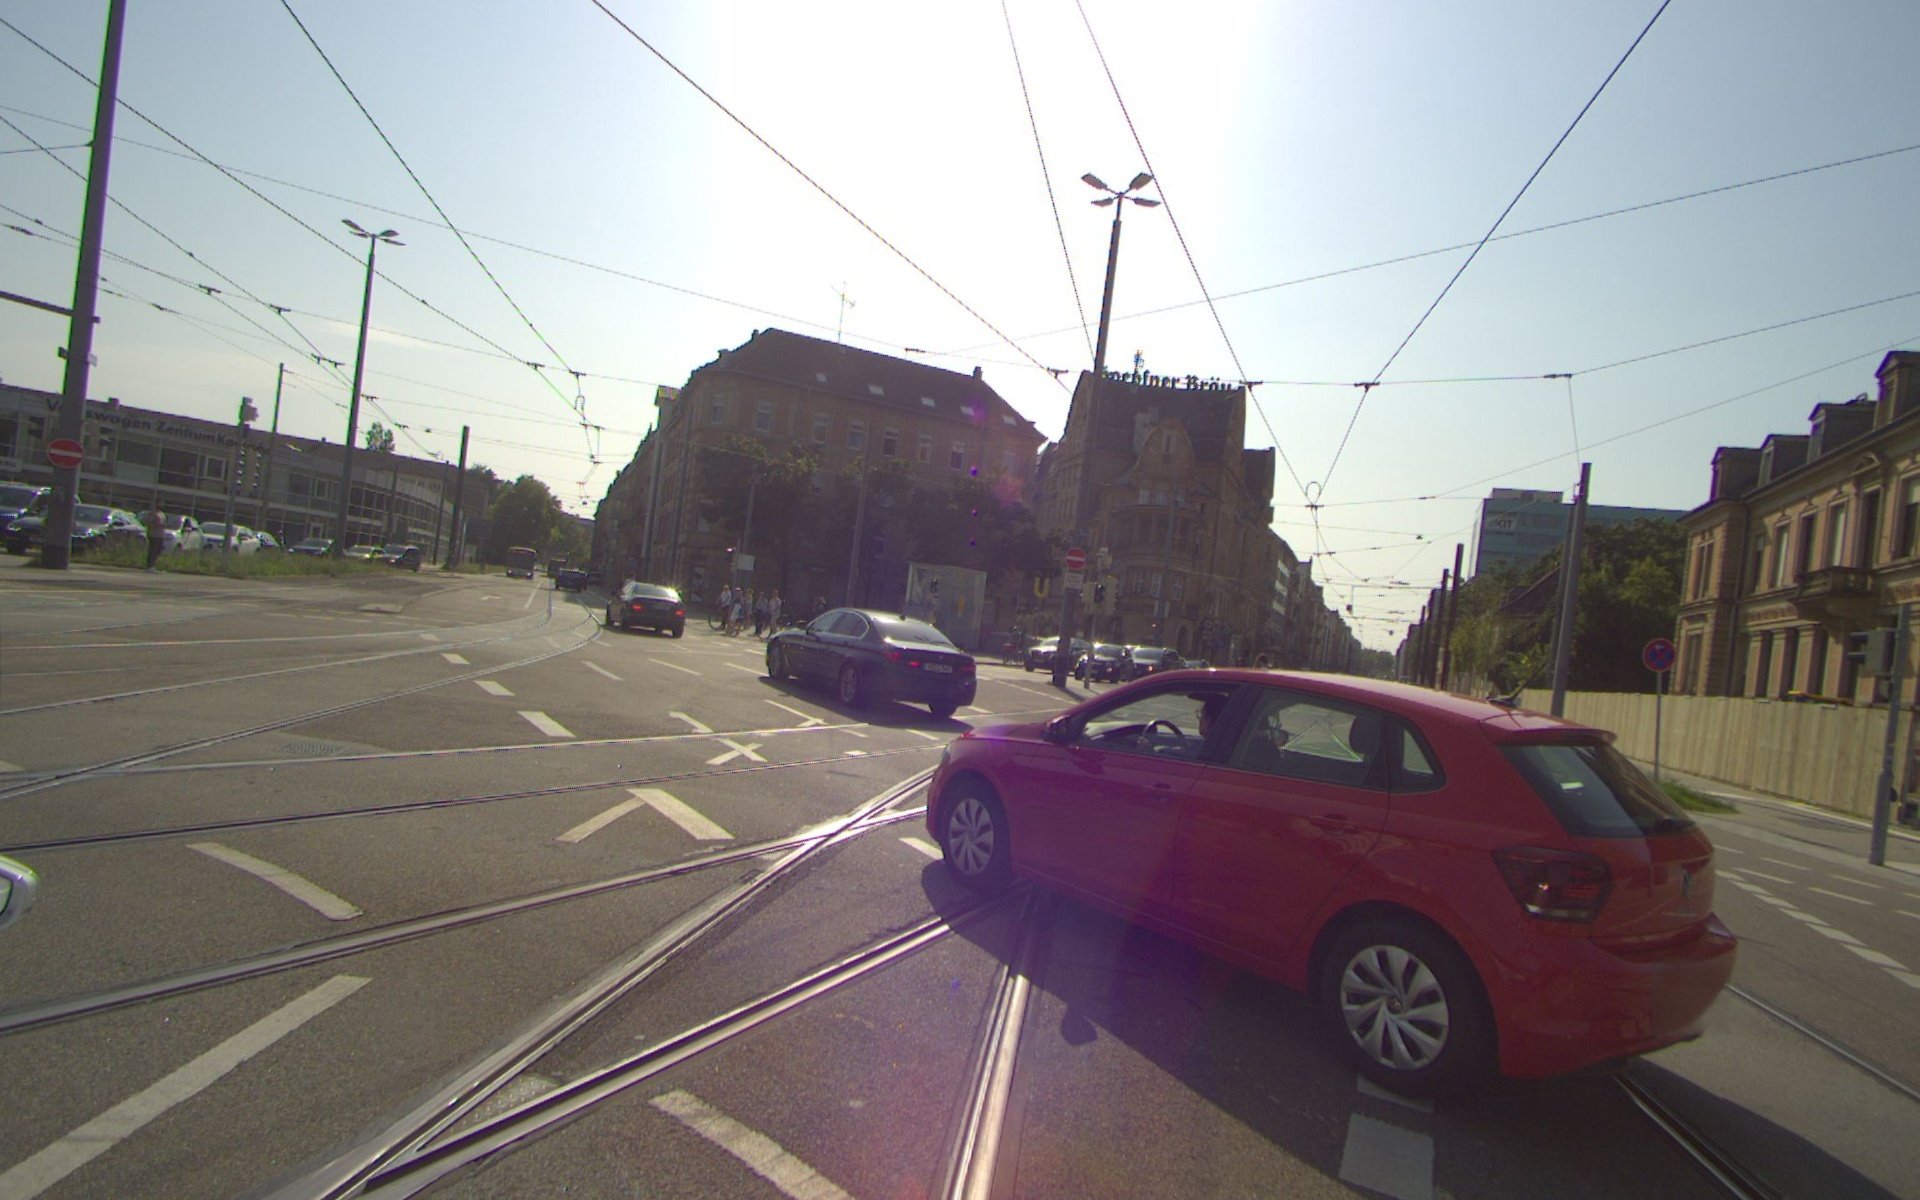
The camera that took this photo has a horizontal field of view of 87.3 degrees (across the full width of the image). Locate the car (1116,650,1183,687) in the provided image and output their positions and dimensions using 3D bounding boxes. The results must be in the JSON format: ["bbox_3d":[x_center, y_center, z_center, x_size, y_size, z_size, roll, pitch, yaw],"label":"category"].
[{"bbox_3d":[8.273,3.000,43.764,1.664,1.343,3.996,7,-1,27],"label":"car"}]

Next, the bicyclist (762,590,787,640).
[{"bbox_3d":[-6.853,0.559,37.205,0.580,1.751,0.591,7,0,-27],"label":"bicyclist"}]

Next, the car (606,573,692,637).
[{"bbox_3d":[-9.189,0.115,29.532,1.720,1.478,3.815,7,0,-26],"label":"car"}]

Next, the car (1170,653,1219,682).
[{"bbox_3d":[14.735,4.233,63.079,1.894,1.523,3.996,7,-1,27],"label":"car"}]

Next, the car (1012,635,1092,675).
[{"bbox_3d":[3.974,2.379,42.931,1.894,1.393,3.996,7,-1,27],"label":"car"}]

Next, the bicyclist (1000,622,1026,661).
[{"bbox_3d":[2.398,1.883,45.572,0.651,1.657,0.917,8,1,29],"label":"bicyclist"}]

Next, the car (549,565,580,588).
[{"bbox_3d":[-28.726,-1.715,73.014,1.720,1.366,3.756,7,0,-26],"label":"car"}]

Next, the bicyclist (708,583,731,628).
[{"bbox_3d":[-9.562,0.215,39.976,0.580,1.738,0.643,7,0,-27],"label":"bicyclist"}]

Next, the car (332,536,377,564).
[{"bbox_3d":[-38.374,-3.164,63.833,1.780,1.433,3.978,7,0,-23],"label":"car"}]

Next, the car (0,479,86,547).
[{"bbox_3d":[-28.241,-2.631,29.949,1.780,1.850,4.747,7,0,-23],"label":"car"}]

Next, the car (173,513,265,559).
[{"bbox_3d":[-28.136,-2.399,38.318,1.780,1.433,3.978,7,0,-23],"label":"car"}]

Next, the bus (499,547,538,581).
[{"bbox_3d":[-46.320,-3.829,105.828,2.858,3.020,11.442,7,0,-21],"label":"bus"}]

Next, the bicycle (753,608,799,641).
[{"bbox_3d":[-6.823,0.913,37.279,1.509,1.037,0.431,8,0,-28],"label":"bicycle"}]

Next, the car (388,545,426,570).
[{"bbox_3d":[-38.508,-2.955,70.131,1.780,1.433,3.978,7,0,-23],"label":"car"}]

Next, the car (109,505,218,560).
[{"bbox_3d":[-26.065,-2.166,33.050,1.780,1.453,3.537,7,0,-23],"label":"car"}]

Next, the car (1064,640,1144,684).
[{"bbox_3d":[5.533,2.383,38.298,1.664,1.343,3.996,7,-1,27],"label":"car"}]

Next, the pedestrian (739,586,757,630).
[{"bbox_3d":[-8.893,0.332,42.224,0.497,1.747,0.623,7,0,-11],"label":"pedestrian"}]

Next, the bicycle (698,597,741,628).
[{"bbox_3d":[-9.556,0.482,39.958,1.510,1.037,0.430,8,0,-30],"label":"bicycle"}]

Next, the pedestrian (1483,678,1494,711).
[{"bbox_3d":[25.178,4.480,47.913,0.232,1.549,0.326,8,1,23],"label":"pedestrian"}]

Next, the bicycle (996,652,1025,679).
[{"bbox_3d":[2.298,2.976,45.571,0.394,1.103,1.925,8,0,29],"label":"bicycle"}]

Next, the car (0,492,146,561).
[{"bbox_3d":[-23.782,-1.917,26.957,1.780,1.469,4.327,7,0,-23],"label":"car"}]

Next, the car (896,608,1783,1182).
[{"bbox_3d":[1.467,1.009,5.057,1.663,1.465,3.742,8,-1,-37],"label":"car"}]

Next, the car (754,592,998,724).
[{"bbox_3d":[-1.549,0.848,16.399,1.896,1.493,4.701,8,-1,-32],"label":"car"}]

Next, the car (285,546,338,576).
[{"bbox_3d":[-37.314,-2.241,57.967,1.780,1.433,3.978,7,0,-23],"label":"car"}]

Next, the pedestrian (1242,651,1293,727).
[{"bbox_3d":[7.444,2.157,24.377,0.657,1.708,0.783,7,1,-45],"label":"pedestrian"}]

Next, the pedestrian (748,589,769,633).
[{"bbox_3d":[-7.944,0.445,39.732,0.499,1.660,0.520,7,0,-26],"label":"pedestrian"}]

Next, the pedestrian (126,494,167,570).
[{"bbox_3d":[-19.753,-1.647,24.435,0.520,1.751,0.594,7,0,-28],"label":"pedestrian"}]
